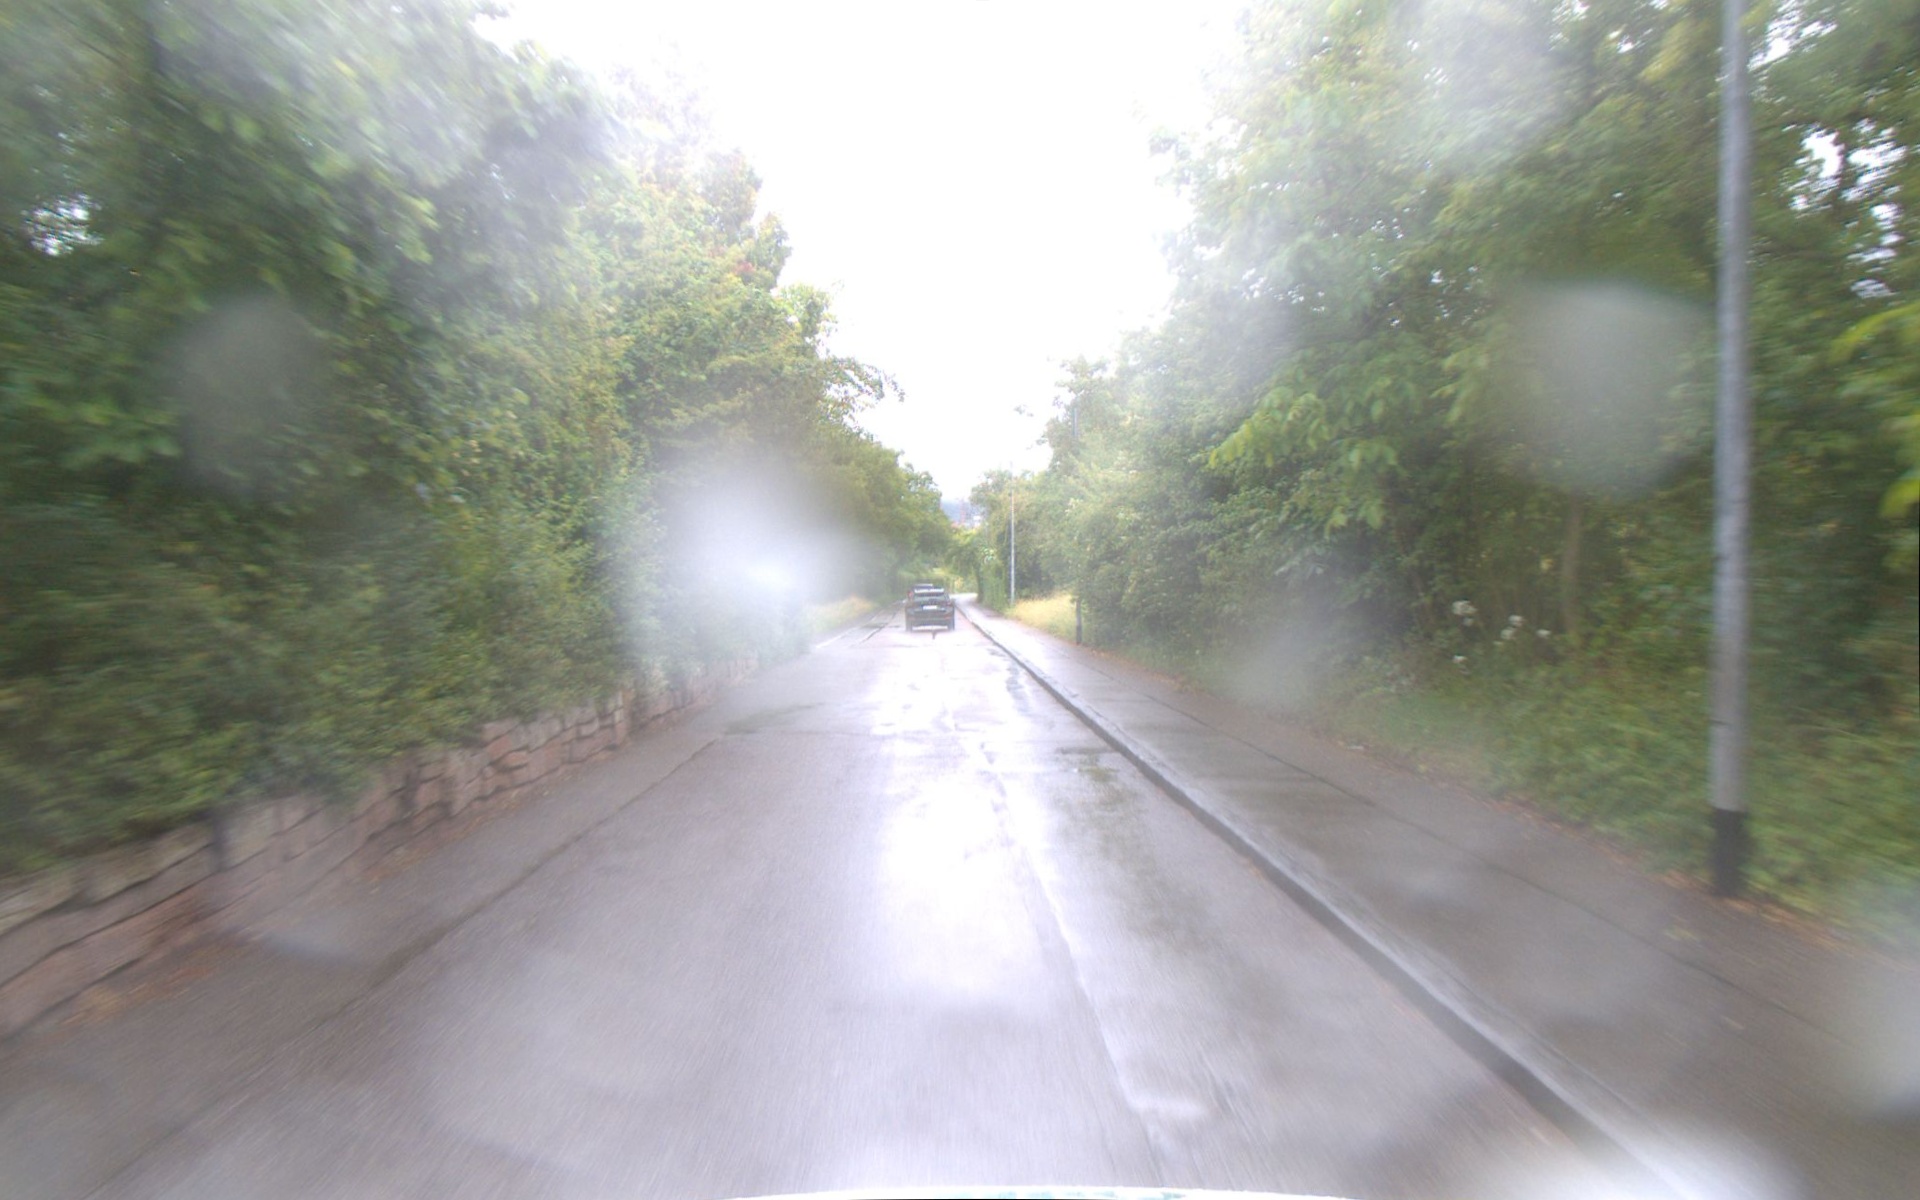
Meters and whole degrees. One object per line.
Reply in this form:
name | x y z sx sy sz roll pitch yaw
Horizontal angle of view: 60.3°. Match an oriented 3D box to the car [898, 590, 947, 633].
car | -1.309 0.409 58.829 1.601 1.475 3.545 -1 0 1
